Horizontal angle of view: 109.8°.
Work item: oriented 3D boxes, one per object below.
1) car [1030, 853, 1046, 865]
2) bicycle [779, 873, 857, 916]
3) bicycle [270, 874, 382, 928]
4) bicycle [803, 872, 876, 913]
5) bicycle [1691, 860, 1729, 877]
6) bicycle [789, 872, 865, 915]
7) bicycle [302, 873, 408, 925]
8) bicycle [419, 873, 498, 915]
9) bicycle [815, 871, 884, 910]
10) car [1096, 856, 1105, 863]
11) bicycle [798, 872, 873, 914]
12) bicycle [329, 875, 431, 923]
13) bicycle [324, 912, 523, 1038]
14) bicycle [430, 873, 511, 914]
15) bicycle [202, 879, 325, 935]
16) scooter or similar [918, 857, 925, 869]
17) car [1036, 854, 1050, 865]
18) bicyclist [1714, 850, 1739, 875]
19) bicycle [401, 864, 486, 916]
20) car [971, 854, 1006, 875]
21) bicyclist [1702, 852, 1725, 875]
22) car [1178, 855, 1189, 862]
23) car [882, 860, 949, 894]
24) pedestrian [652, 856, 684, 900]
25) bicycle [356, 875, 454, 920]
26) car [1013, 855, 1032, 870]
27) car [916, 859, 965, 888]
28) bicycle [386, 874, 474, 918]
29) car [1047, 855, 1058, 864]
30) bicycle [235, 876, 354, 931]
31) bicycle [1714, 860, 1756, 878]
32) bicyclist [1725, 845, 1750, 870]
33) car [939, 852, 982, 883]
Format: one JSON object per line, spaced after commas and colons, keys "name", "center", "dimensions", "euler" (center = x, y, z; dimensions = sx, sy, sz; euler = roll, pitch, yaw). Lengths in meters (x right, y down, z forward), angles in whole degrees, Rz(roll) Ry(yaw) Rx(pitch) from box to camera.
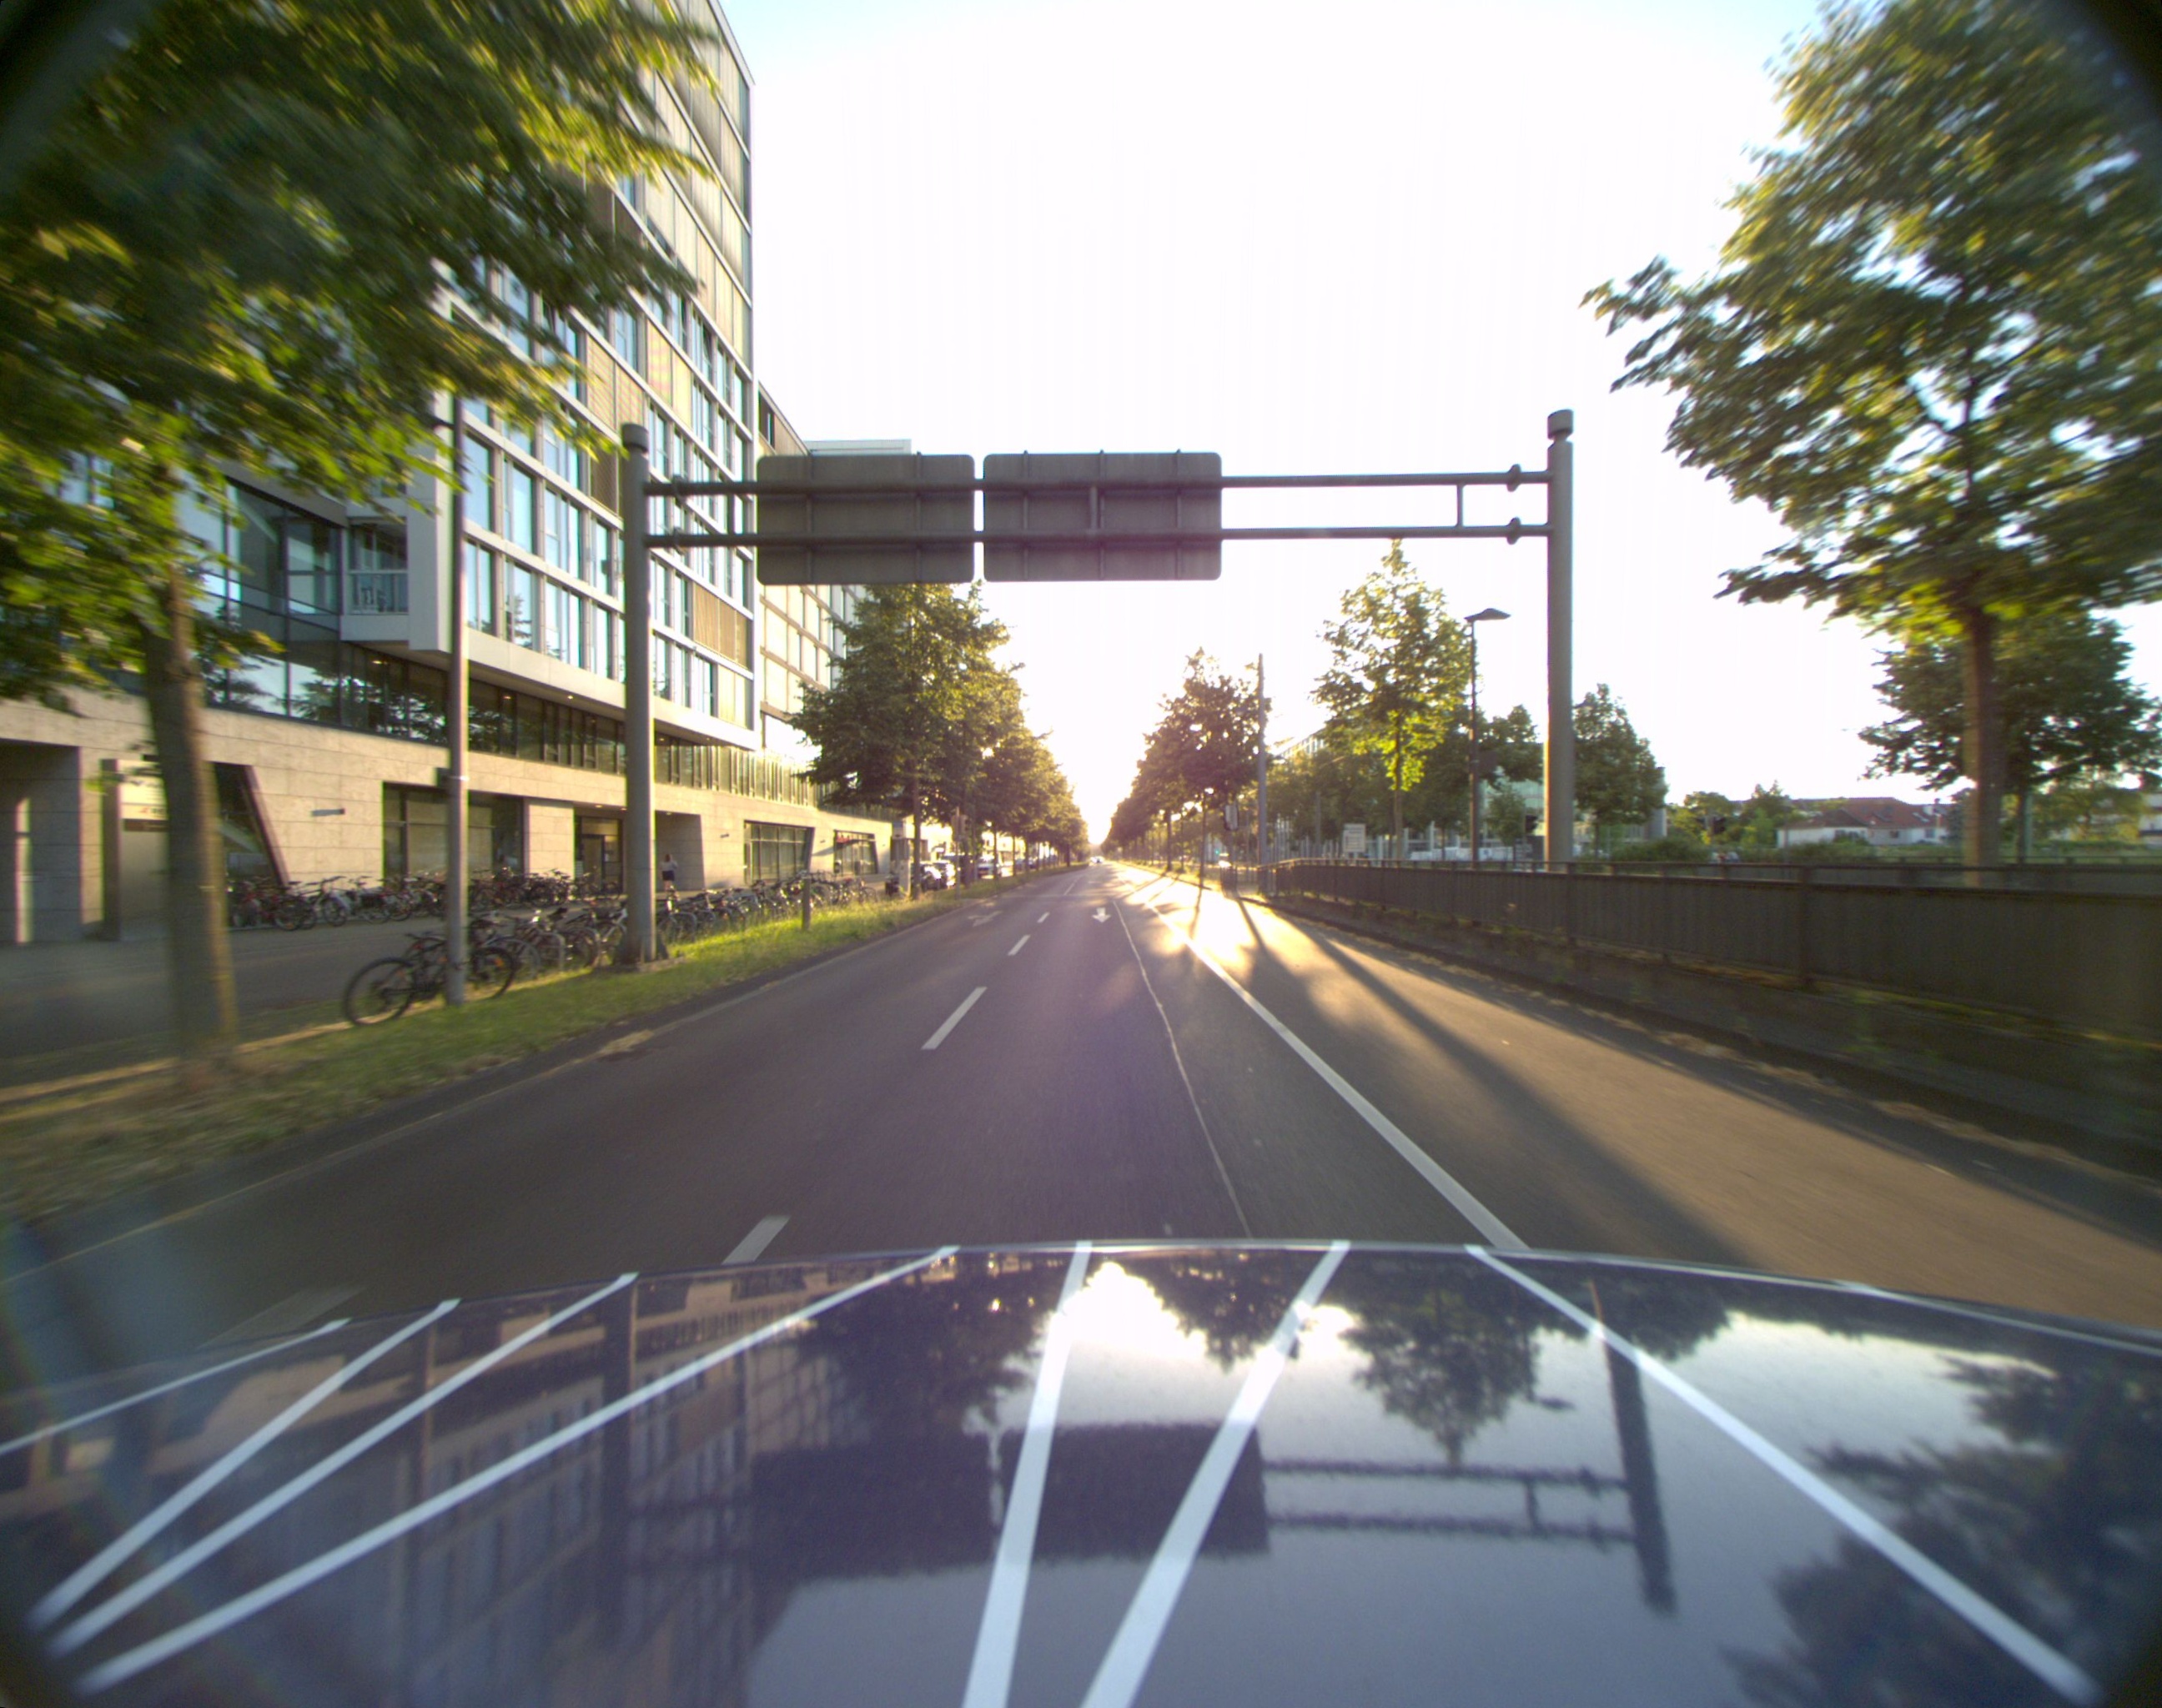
{"name": "car", "center": [-5.344, 0.632, 95.071], "dimensions": [1.857, 1.359, 4.834], "euler": [-1, 0, -1]}
{"name": "bicycle", "center": [-7.370, 1.134, 21.318], "dimensions": [1.947, 1.048, 0.408], "euler": [-4, 0, -6]}
{"name": "bicycle", "center": [-17.124, 1.059, 17.258], "dimensions": [1.988, 1.161, 0.503], "euler": [-1, 1, -2]}
{"name": "bicycle", "center": [-7.284, 1.152, 22.978], "dimensions": [1.948, 1.048, 0.545], "euler": [-4, 0, -9]}
{"name": "bicycle", "center": [38.319, 0.864, 46.325], "dimensions": [0.621, 1.005, 2.083], "euler": [0, 0, -1]}
{"name": "bicycle", "center": [-7.263, 1.123, 21.781], "dimensions": [1.947, 1.048, 0.408], "euler": [-4, 0, -6]}
{"name": "bicycle", "center": [-17.266, 1.067, 18.086], "dimensions": [1.988, 1.175, 0.503], "euler": [-1, 1, -2]}
{"name": "bicycle", "center": [-17.265, 1.096, 21.091], "dimensions": [1.835, 1.118, 0.372], "euler": [-1, 1, -2]}
{"name": "bicycle", "center": [-7.192, 1.139, 23.686], "dimensions": [1.948, 1.048, 0.544], "euler": [-4, 0, -13]}
{"name": "car", "center": [4.066, 1.161, 159.110], "dimensions": [1.998, 1.473, 4.336], "euler": [0, -1, 1]}
{"name": "bicycle", "center": [-7.189, 1.130, 22.314], "dimensions": [1.947, 1.048, 0.545], "euler": [-4, 0, -6]}
{"name": "bicycle", "center": [-17.209, 1.098, 18.678], "dimensions": [1.988, 1.134, 0.503], "euler": [-1, 1, -2]}
{"name": "bicycle", "center": [-6.489, 1.142, 7.641], "dimensions": [0.319, 0.974, 1.846], "euler": [-1, 0, 2]}
{"name": "bicycle", "center": [-17.334, 1.120, 21.580], "dimensions": [1.835, 1.106, 0.503], "euler": [-1, 1, -2]}
{"name": "bicycle", "center": [-17.305, 1.121, 16.110], "dimensions": [1.988, 1.135, 0.503], "euler": [-1, 1, -2]}
{"name": "scooter or similar", "center": [-16.517, 0.941, 78.743], "dimensions": [0.473, 1.204, 1.229], "euler": [0, 0, 2]}
{"name": "car", "center": [-5.644, 0.874, 113.818], "dimensions": [1.785, 1.485, 4.000], "euler": [-3, 0, 1]}
{"name": "bicyclist", "center": [37.179, 0.497, 43.776], "dimensions": [0.621, 1.448, 0.937], "euler": [0, 1, -1]}
{"name": "bicycle", "center": [-17.252, 0.969, 20.588], "dimensions": [1.835, 1.349, 0.503], "euler": [-1, 1, -2]}
{"name": "car", "center": [-7.208, 0.788, 59.720], "dimensions": [1.998, 1.633, 4.879], "euler": [0, 0, 2]}
{"name": "bicyclist", "center": [38.338, 0.566, 46.070], "dimensions": [0.621, 1.413, 0.937], "euler": [0, 1, -1]}
{"name": "car", "center": [23.957, 1.038, 176.940], "dimensions": [1.907, 1.477, 4.631], "euler": [0, 0, -1]}
{"name": "car", "center": [-7.517, 1.003, 34.929], "dimensions": [1.873, 1.403, 4.646], "euler": [0, 0, 2]}
{"name": "pedestrian", "center": [-15.489, 0.895, 28.536], "dimensions": [0.644, 1.638, 0.953], "euler": [-1, 0, 0]}
{"name": "bicycle", "center": [-17.193, 1.101, 19.350], "dimensions": [1.988, 1.093, 0.503], "euler": [-1, 0, -2]}
{"name": "car", "center": [-6.465, 0.901, 83.701], "dimensions": [1.714, 1.506, 3.759], "euler": [-3, 0, 0]}
{"name": "car", "center": [-7.547, 1.007, 41.273], "dimensions": [1.814, 1.463, 4.665], "euler": [0, 0, -1]}
{"name": "bicycle", "center": [-17.152, 1.098, 20.036], "dimensions": [1.835, 1.115, 0.503], "euler": [-1, 1, -2]}
{"name": "car", "center": [-5.250, 0.981, 139.134], "dimensions": [1.843, 1.561, 4.061], "euler": [-1, 0, 0]}
{"name": "bicycle", "center": [-17.082, 1.063, 16.528], "dimensions": [1.988, 1.135, 0.503], "euler": [-1, 1, -2]}
{"name": "bicycle", "center": [37.888, 0.875, 44.049], "dimensions": [0.621, 1.005, 2.083], "euler": [0, 0, -1]}
{"name": "bicyclist", "center": [37.891, 0.185, 43.879], "dimensions": [0.621, 1.448, 0.937], "euler": [0, 1, -1]}
{"name": "car", "center": [-7.450, 0.781, 47.365], "dimensions": [1.999, 1.841, 4.665], "euler": [0, 0, -1]}
